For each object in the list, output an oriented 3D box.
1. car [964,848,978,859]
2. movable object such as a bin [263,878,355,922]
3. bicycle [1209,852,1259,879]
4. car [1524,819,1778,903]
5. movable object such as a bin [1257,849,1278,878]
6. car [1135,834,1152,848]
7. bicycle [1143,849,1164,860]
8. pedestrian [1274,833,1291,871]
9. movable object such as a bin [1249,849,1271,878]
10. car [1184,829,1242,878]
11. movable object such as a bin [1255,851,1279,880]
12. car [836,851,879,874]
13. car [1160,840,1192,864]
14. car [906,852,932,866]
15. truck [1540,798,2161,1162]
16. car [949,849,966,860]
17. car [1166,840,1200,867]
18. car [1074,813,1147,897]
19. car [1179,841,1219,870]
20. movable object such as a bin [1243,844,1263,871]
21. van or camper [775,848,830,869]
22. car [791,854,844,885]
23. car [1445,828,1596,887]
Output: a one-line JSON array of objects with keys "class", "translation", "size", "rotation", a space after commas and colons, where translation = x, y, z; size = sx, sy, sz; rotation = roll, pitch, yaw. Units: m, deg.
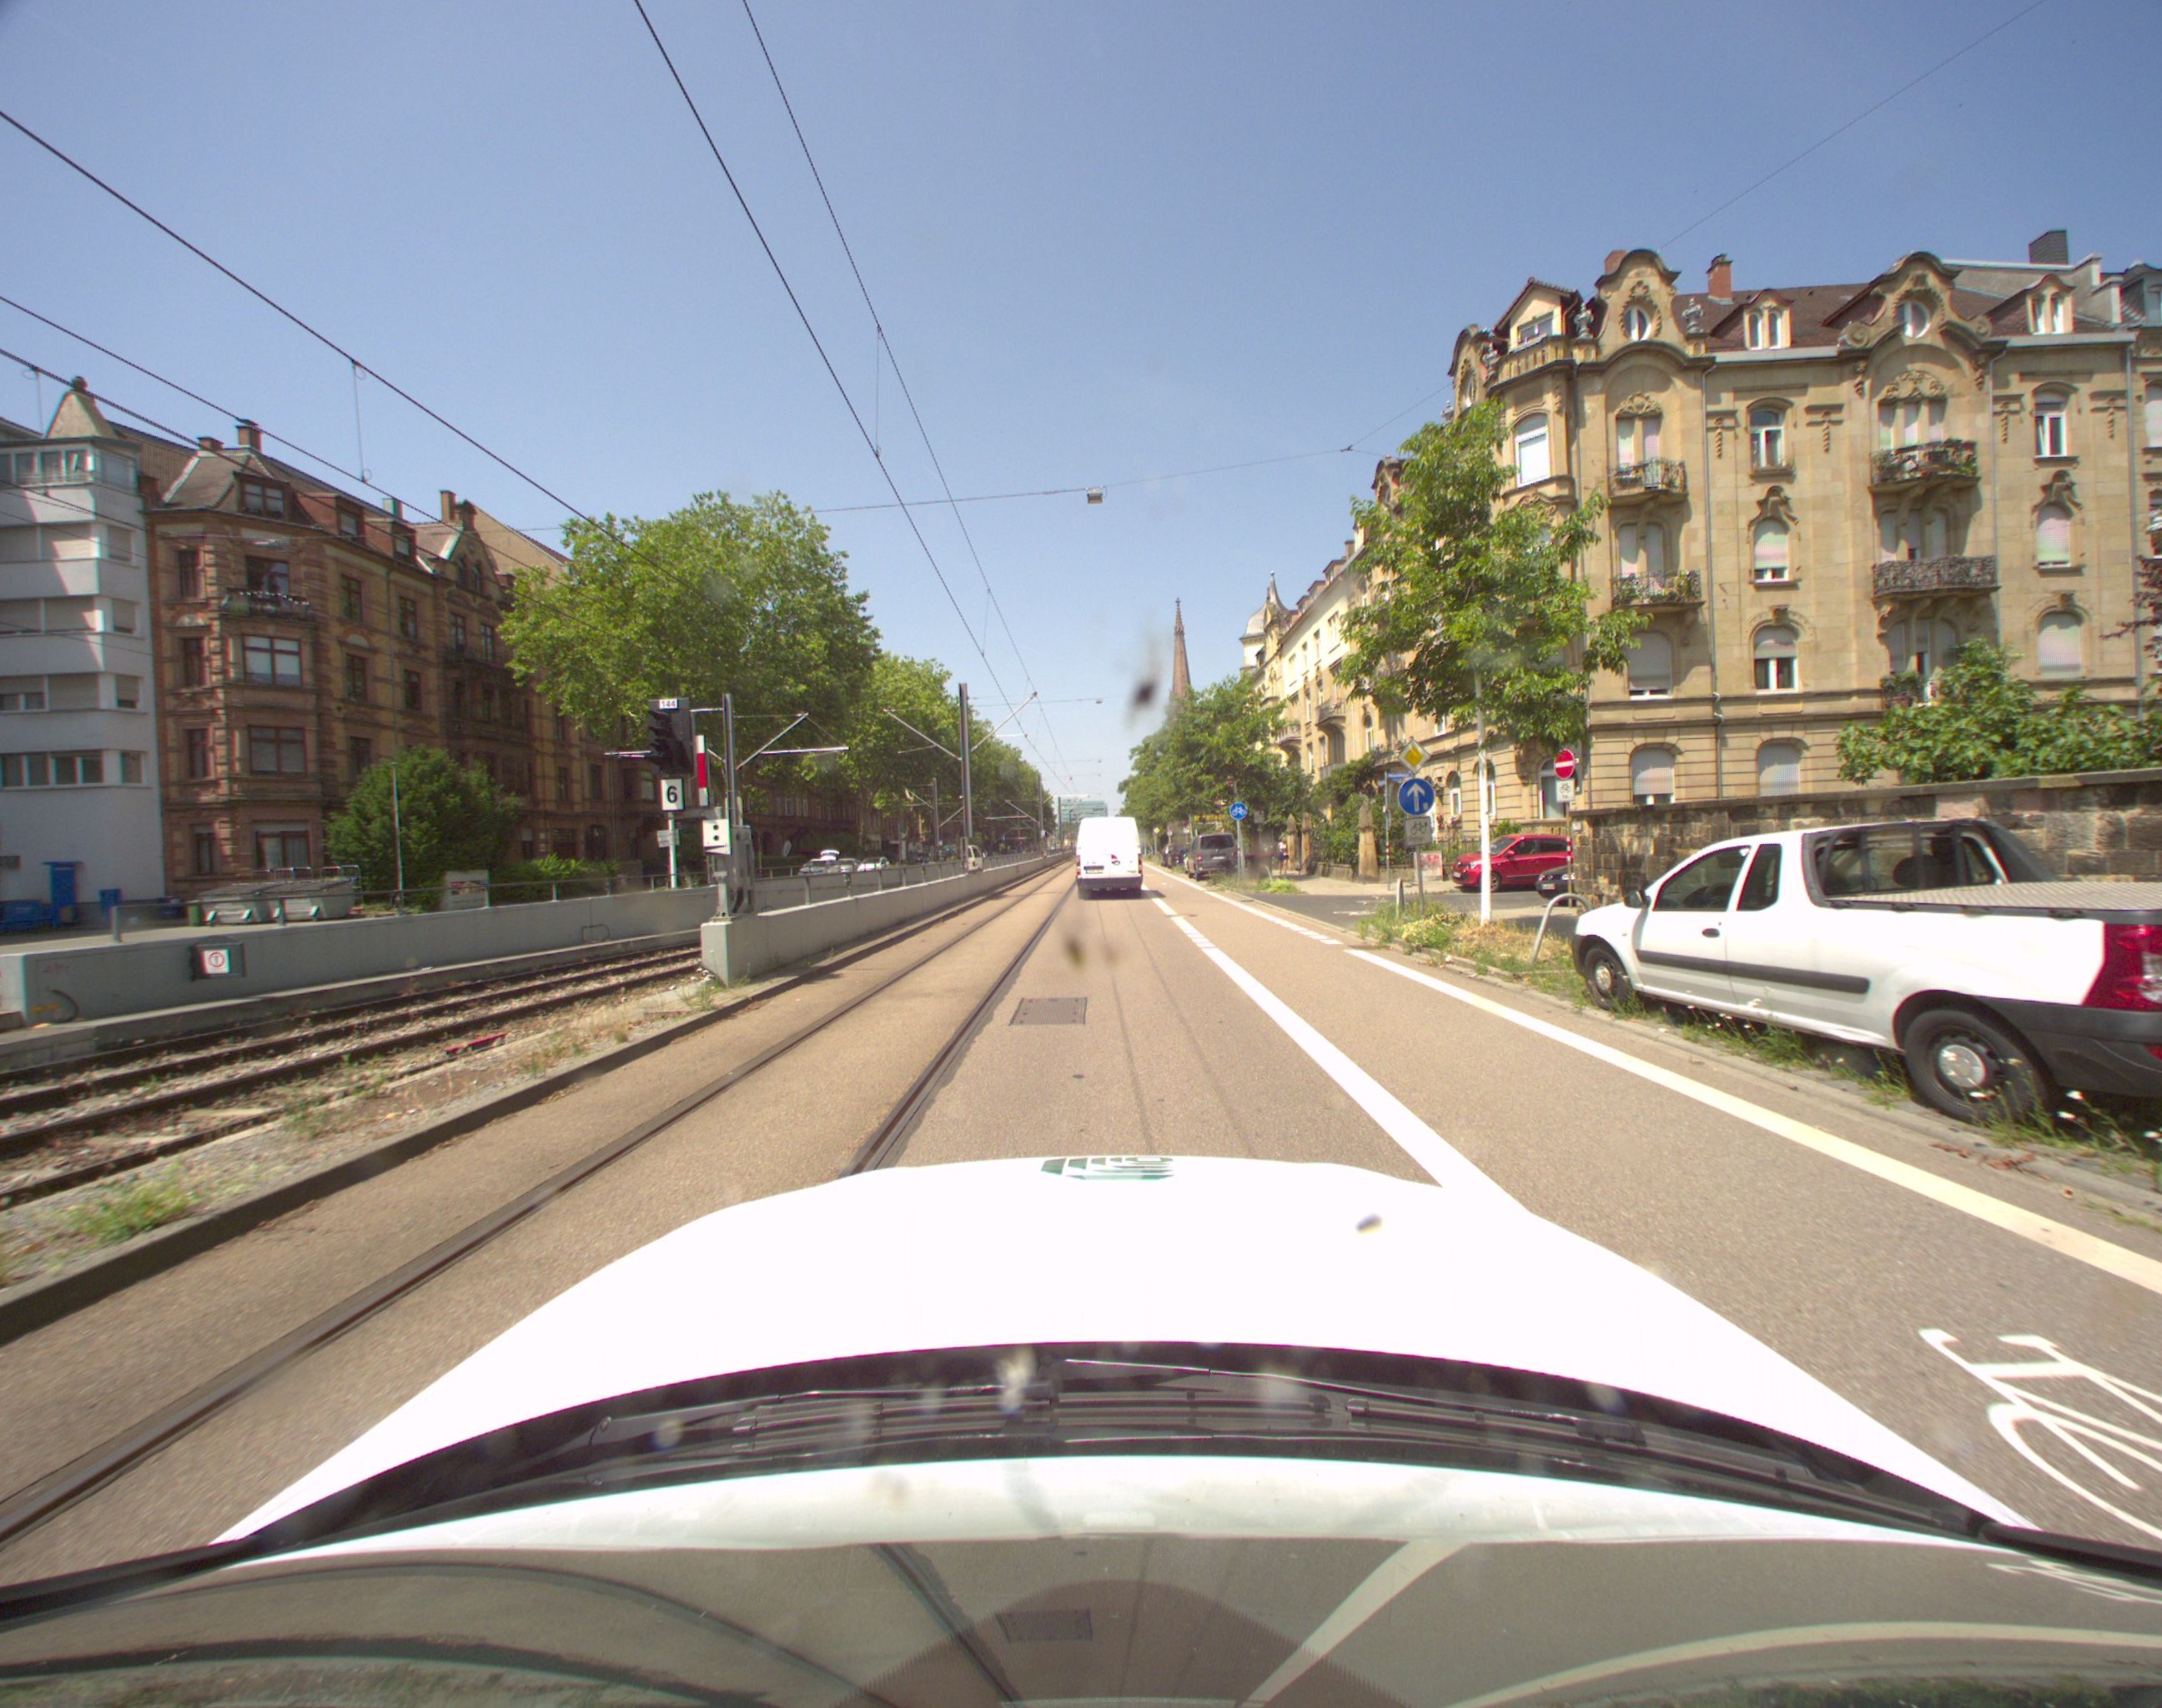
[{"class": "car", "translation": [-16.164, -0.089, 119.862], "size": [1.368, 1.423, 3.090], "rotation": [-2, 0, 2]}, {"class": "movable object such as a bin", "translation": [-27.343, 1.616, 28.904], "size": [1.777, 1.385, 1.469], "rotation": [-2, 0, -1]}, {"class": "bicycle", "translation": [6.079, 0.441, 32.466], "size": [1.880, 0.991, 0.469], "rotation": [-2, 0, -9]}, {"class": "car", "translation": [11.969, 0.182, 17.294], "size": [4.169, 1.491, 1.672], "rotation": [-3, -3, -1]}, {"class": "movable object such as a bin", "translation": [6.923, 0.345, 30.288], "size": [0.665, 1.062, 0.497], "rotation": [-2, 0, 7]}, {"class": "car", "translation": [8.121, -1.716, 105.880], "size": [2.147, 1.670, 4.004], "rotation": [-2, 1, 3]}, {"class": "bicycle", "translation": [6.774, 0.072, 76.158], "size": [1.835, 0.953, 0.503], "rotation": [-2, 0, 2]}, {"class": "pedestrian", "translation": [8.501, -0.086, 34.331], "size": [0.549, 1.598, 0.728], "rotation": [-2, 0, 3]}, {"class": "movable object such as a bin", "translation": [6.790, 0.342, 30.923], "size": [0.742, 1.062, 0.497], "rotation": [-2, 0, 7]}, {"class": "car", "translation": [5.830, -0.062, 36.520], "size": [1.872, 1.947, 4.838], "rotation": [-4, 1, 1]}, {"class": "movable object such as a bin", "translation": [6.767, 0.407, 29.668], "size": [0.783, 1.014, 0.651], "rotation": [-2, 0, 7]}, {"class": "car", "translation": [-16.735, 0.616, 61.138], "size": [1.535, 1.561, 3.888], "rotation": [-2, 1, 9]}, {"class": "car", "translation": [6.500, -0.146, 56.130], "size": [1.723, 1.535, 4.405], "rotation": [-2, 1, 1]}, {"class": "car", "translation": [-17.467, 0.508, 88.037], "size": [1.846, 1.401, 4.198], "rotation": [-2, 1, 0]}, {"class": "truck", "translation": [5.357, 0.472, 5.665], "size": [1.784, 1.526, 4.465], "rotation": [-2, 1, 0]}, {"class": "car", "translation": [-17.020, 0.020, 112.324], "size": [1.586, 1.448, 4.002], "rotation": [-2, 1, 2]}, {"class": "car", "translation": [6.347, -0.056, 51.100], "size": [1.661, 1.530, 4.014], "rotation": [-2, 1, 1]}, {"class": "car", "translation": [0.892, 0.002, 26.926], "size": [2.110, 2.459, 5.054], "rotation": [-2, 1, 0]}, {"class": "car", "translation": [6.265, 0.050, 43.464], "size": [1.605, 1.405, 4.002], "rotation": [-2, 1, 1]}, {"class": "movable object such as a bin", "translation": [6.701, 0.123, 31.696], "size": [0.595, 1.011, 0.564], "rotation": [-2, 1, -9]}, {"class": "van or camper", "translation": [-26.657, 0.423, 78.116], "size": [4.519, 1.836, 1.936], "rotation": [-2, 1, 7]}, {"class": "car", "translation": [-17.982, 1.039, 55.889], "size": [1.987, 1.904, 4.718], "rotation": [-2, 1, 1]}, {"class": "car", "translation": [12.470, 0.096, 23.262], "size": [3.437, 1.491, 1.556], "rotation": [-2, 0, 3]}]
